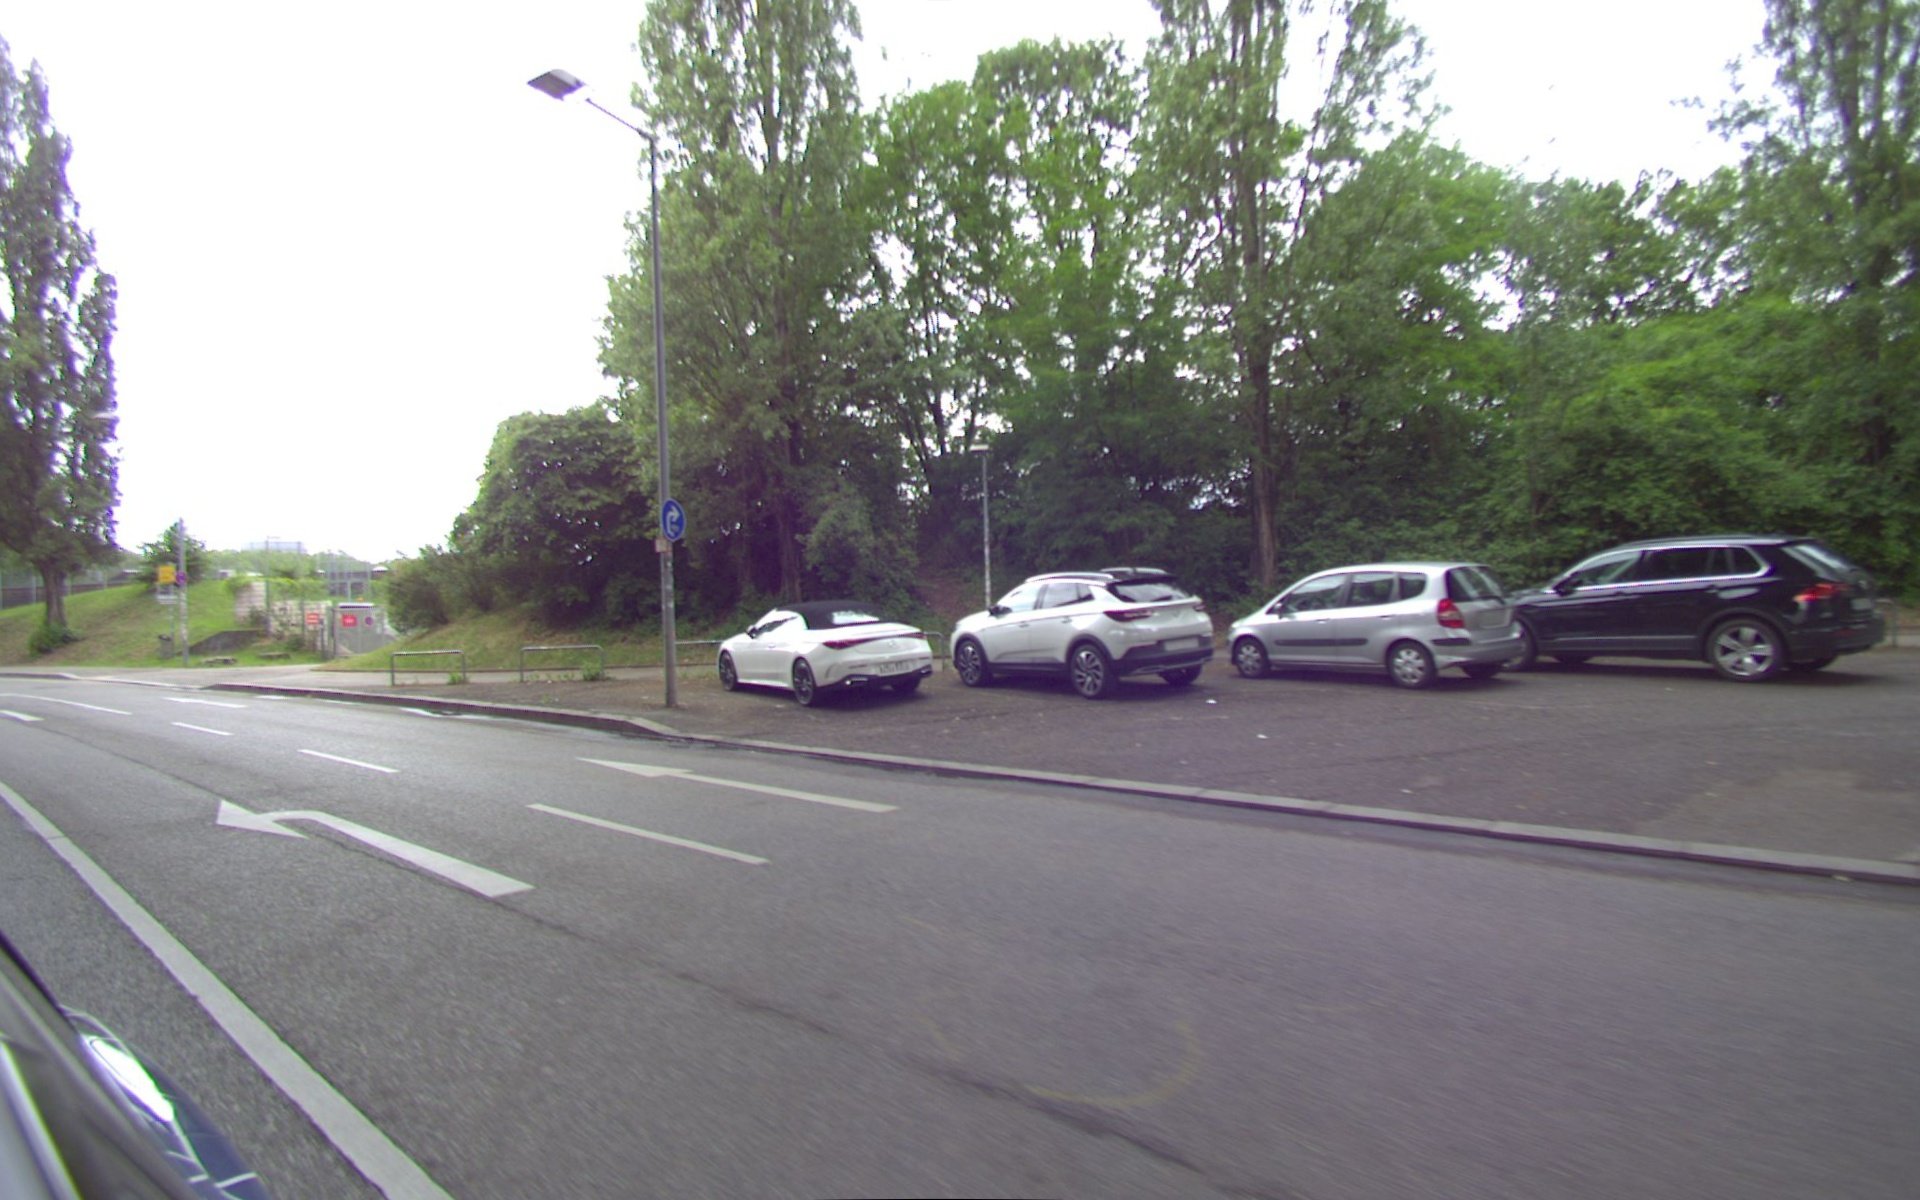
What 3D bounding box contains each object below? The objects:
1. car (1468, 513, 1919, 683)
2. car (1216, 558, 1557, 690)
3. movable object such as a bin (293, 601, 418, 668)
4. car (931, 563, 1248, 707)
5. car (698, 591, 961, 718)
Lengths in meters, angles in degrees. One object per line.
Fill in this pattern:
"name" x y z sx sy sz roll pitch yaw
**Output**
"car" 8.770 -0.011 12.396 1.831 1.704 4.176 -2 0 -32
"car" 5.406 0.285 13.271 1.762 1.465 3.757 -2 0 -32
"movable object such as a bin" -25.916 1.457 43.531 4.167 2.743 2.029 -1 -2 -4
"car" 1.656 0.393 14.443 1.967 1.594 4.412 -6 4 -34
"car" -2.212 0.692 15.783 1.968 1.490 4.841 -6 4 -35
